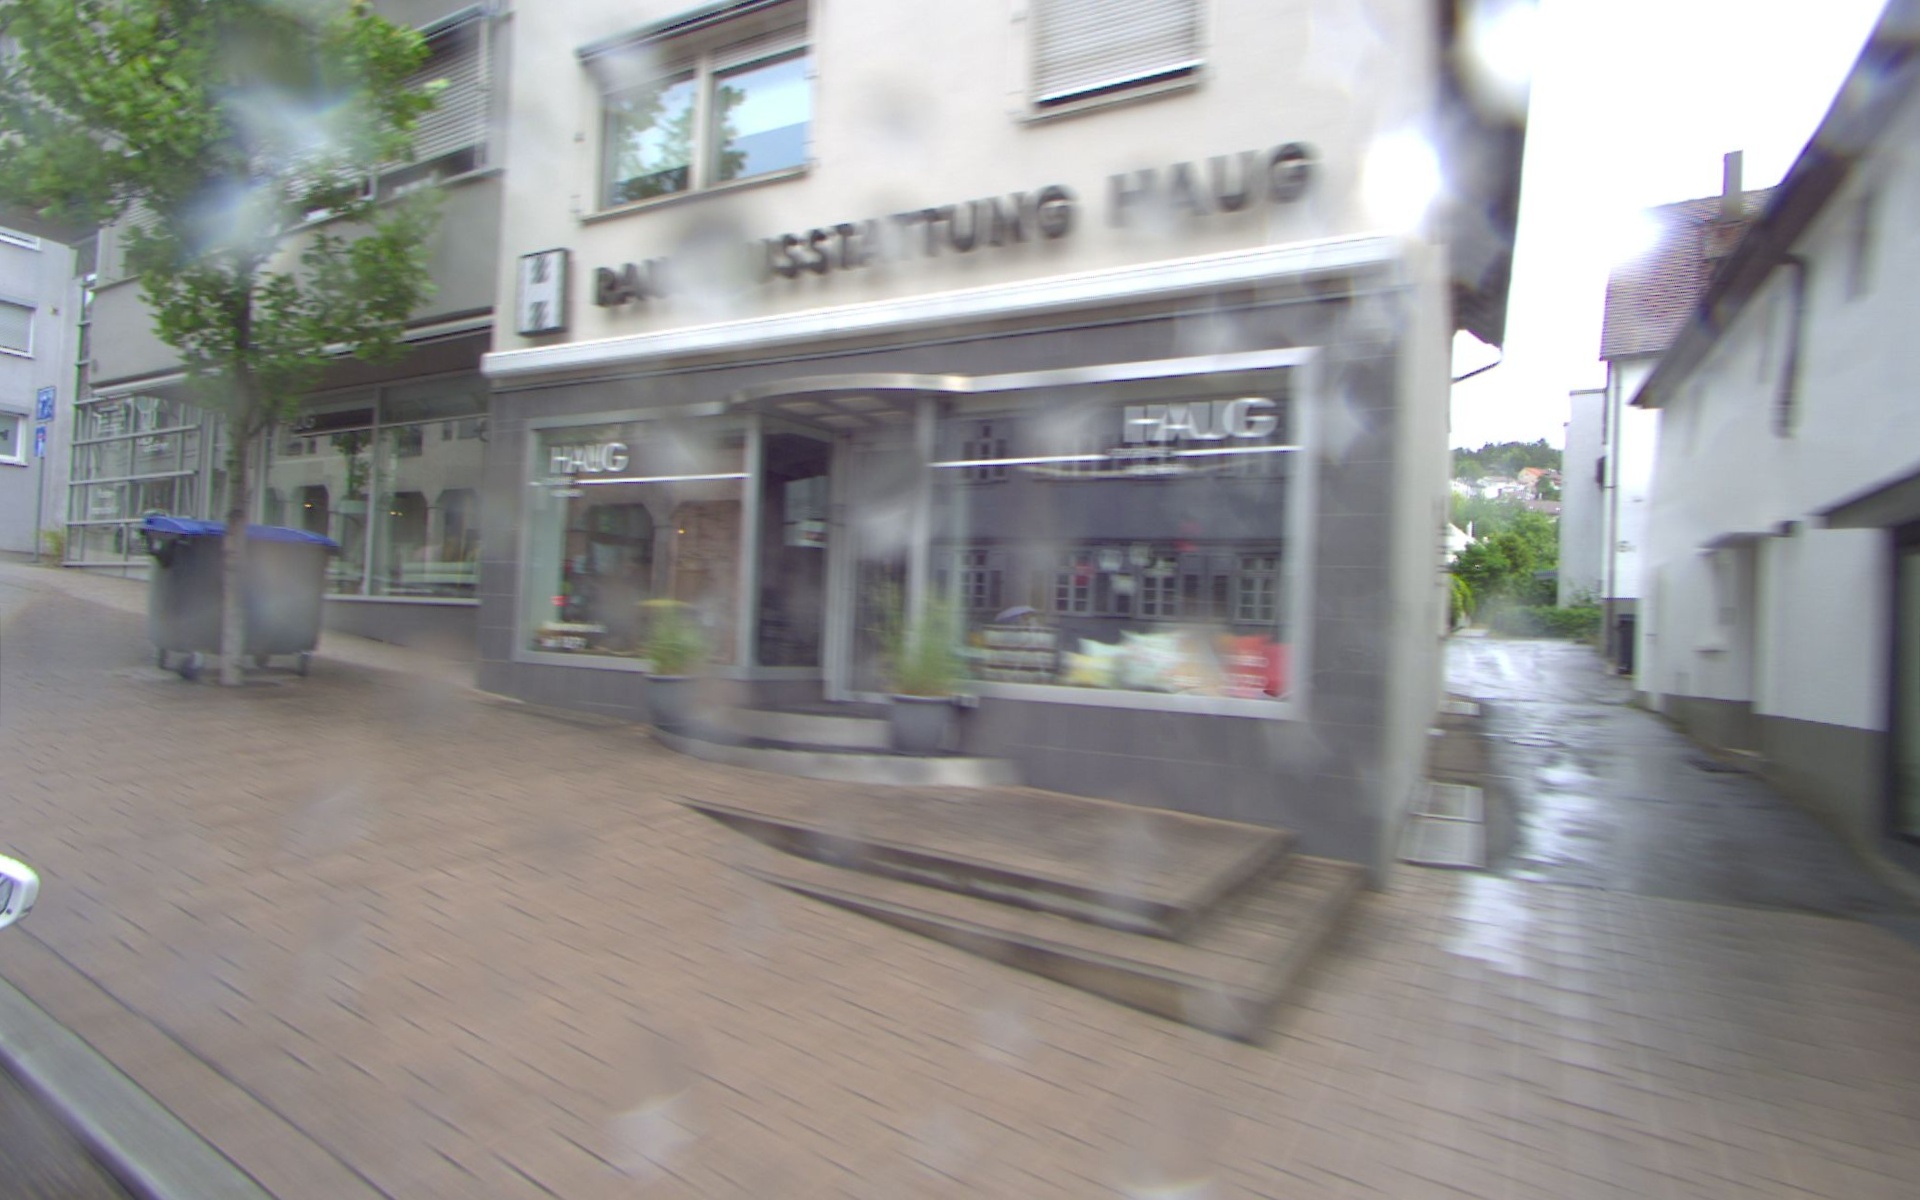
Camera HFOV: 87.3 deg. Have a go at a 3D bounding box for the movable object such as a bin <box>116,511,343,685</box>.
[{"bbox_3d":[-6.504,-0.014,8.984,1.153,1.352,1.235,7,2,32],"label":"movable object such as a bin"}]

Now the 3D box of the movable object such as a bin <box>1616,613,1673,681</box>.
[{"bbox_3d":[14.829,0.998,21.817,0.867,1.330,0.713,6,7,31],"label":"movable object such as a bin"}]
